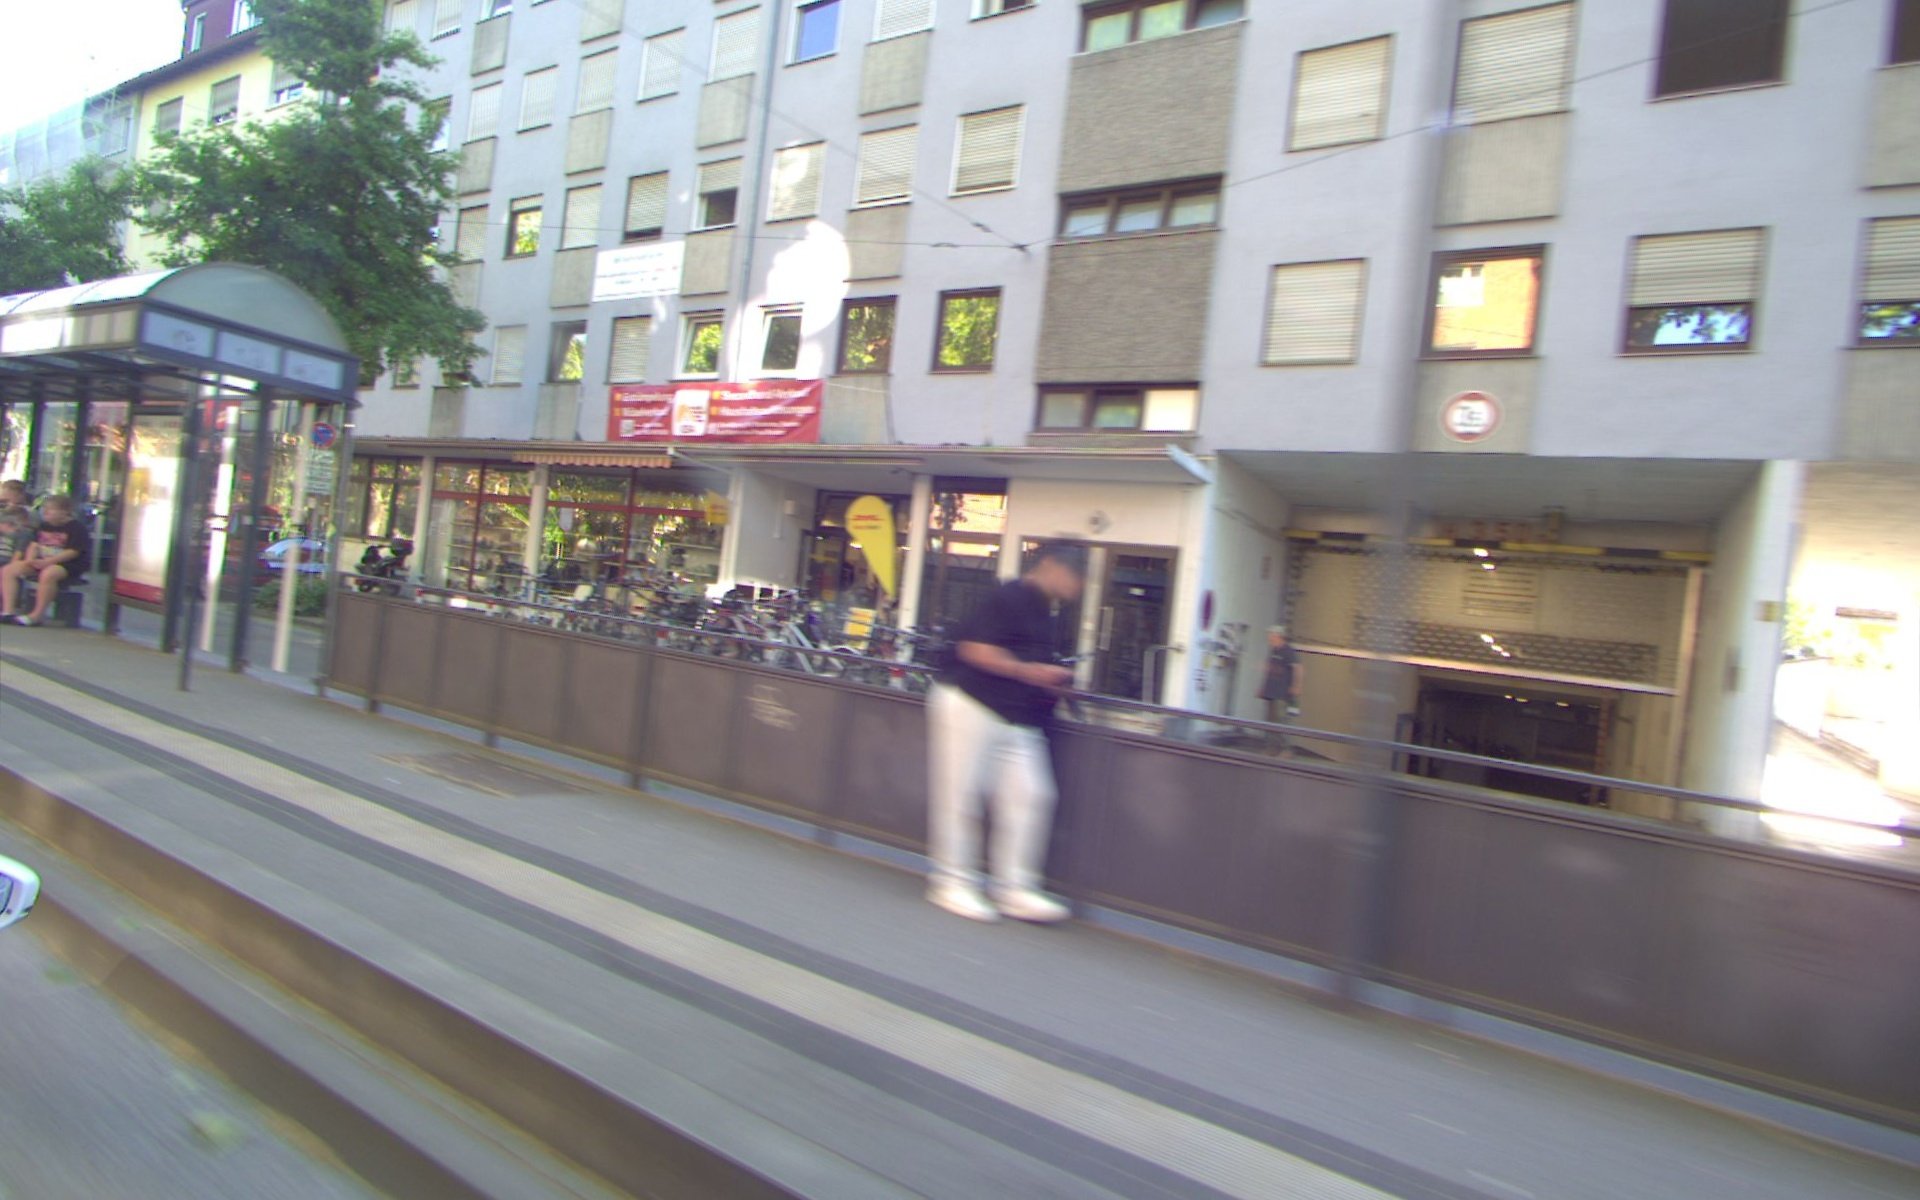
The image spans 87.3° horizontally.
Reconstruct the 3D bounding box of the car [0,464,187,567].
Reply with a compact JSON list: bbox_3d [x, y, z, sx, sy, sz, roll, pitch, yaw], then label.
[{"bbox_3d":[-19.682,-1.926,22.773,3.933,1.818,1.998,6,-2,31],"label":"car"}]

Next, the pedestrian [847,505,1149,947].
[{"bbox_3d":[0.167,0.478,4.198,0.856,1.594,0.632,7,-2,32],"label":"pedestrian"}]

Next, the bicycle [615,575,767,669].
[{"bbox_3d":[-4.088,0.324,15.240,2.163,1.149,0.599,7,-1,20],"label":"bicycle"}]

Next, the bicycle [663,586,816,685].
[{"bbox_3d":[-3.193,0.505,14.526,2.163,1.149,0.411,7,-1,20],"label":"bicycle"}]

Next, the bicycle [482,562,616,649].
[{"bbox_3d":[-6.644,0.075,16.236,2.165,1.149,0.599,6,-1,26],"label":"bicycle"}]

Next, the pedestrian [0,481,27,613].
[{"bbox_3d":[-9.962,-0.569,10.147,0.541,1.319,0.535,6,-1,27],"label":"pedestrian"}]

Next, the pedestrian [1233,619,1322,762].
[{"bbox_3d":[4.339,1.225,13.720,0.805,1.792,0.719,7,0,31],"label":"pedestrian"}]

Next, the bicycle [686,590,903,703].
[{"bbox_3d":[-2.265,0.608,13.629,2.867,1.149,0.613,7,-1,20],"label":"bicycle"}]

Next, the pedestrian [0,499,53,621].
[{"bbox_3d":[-9.168,-0.398,9.577,0.541,1.112,0.535,6,-1,27],"label":"pedestrian"}]

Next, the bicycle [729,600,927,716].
[{"bbox_3d":[-1.696,0.722,12.822,2.389,1.149,0.604,7,-1,20],"label":"bicycle"}]

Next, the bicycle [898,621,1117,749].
[{"bbox_3d":[0.545,0.975,11.847,2.394,1.149,0.623,7,-1,20],"label":"bicycle"}]

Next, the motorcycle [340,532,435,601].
[{"bbox_3d":[-12.880,-0.764,22.622,2.009,1.295,0.893,6,-1,32],"label":"motorcycle"}]

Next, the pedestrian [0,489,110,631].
[{"bbox_3d":[-8.590,-0.373,9.543,0.501,1.245,0.535,6,-1,27],"label":"pedestrian"}]

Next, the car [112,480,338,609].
[{"bbox_3d":[-14.226,-1.087,19.444,3.933,1.975,1.998,6,-2,31],"label":"car"}]

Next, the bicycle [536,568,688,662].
[{"bbox_3d":[-5.236,0.223,15.122,2.163,1.149,0.599,7,-1,20],"label":"bicycle"}]

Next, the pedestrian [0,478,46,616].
[{"bbox_3d":[-9.524,-0.534,9.931,0.421,1.319,0.504,6,-1,27],"label":"pedestrian"}]
